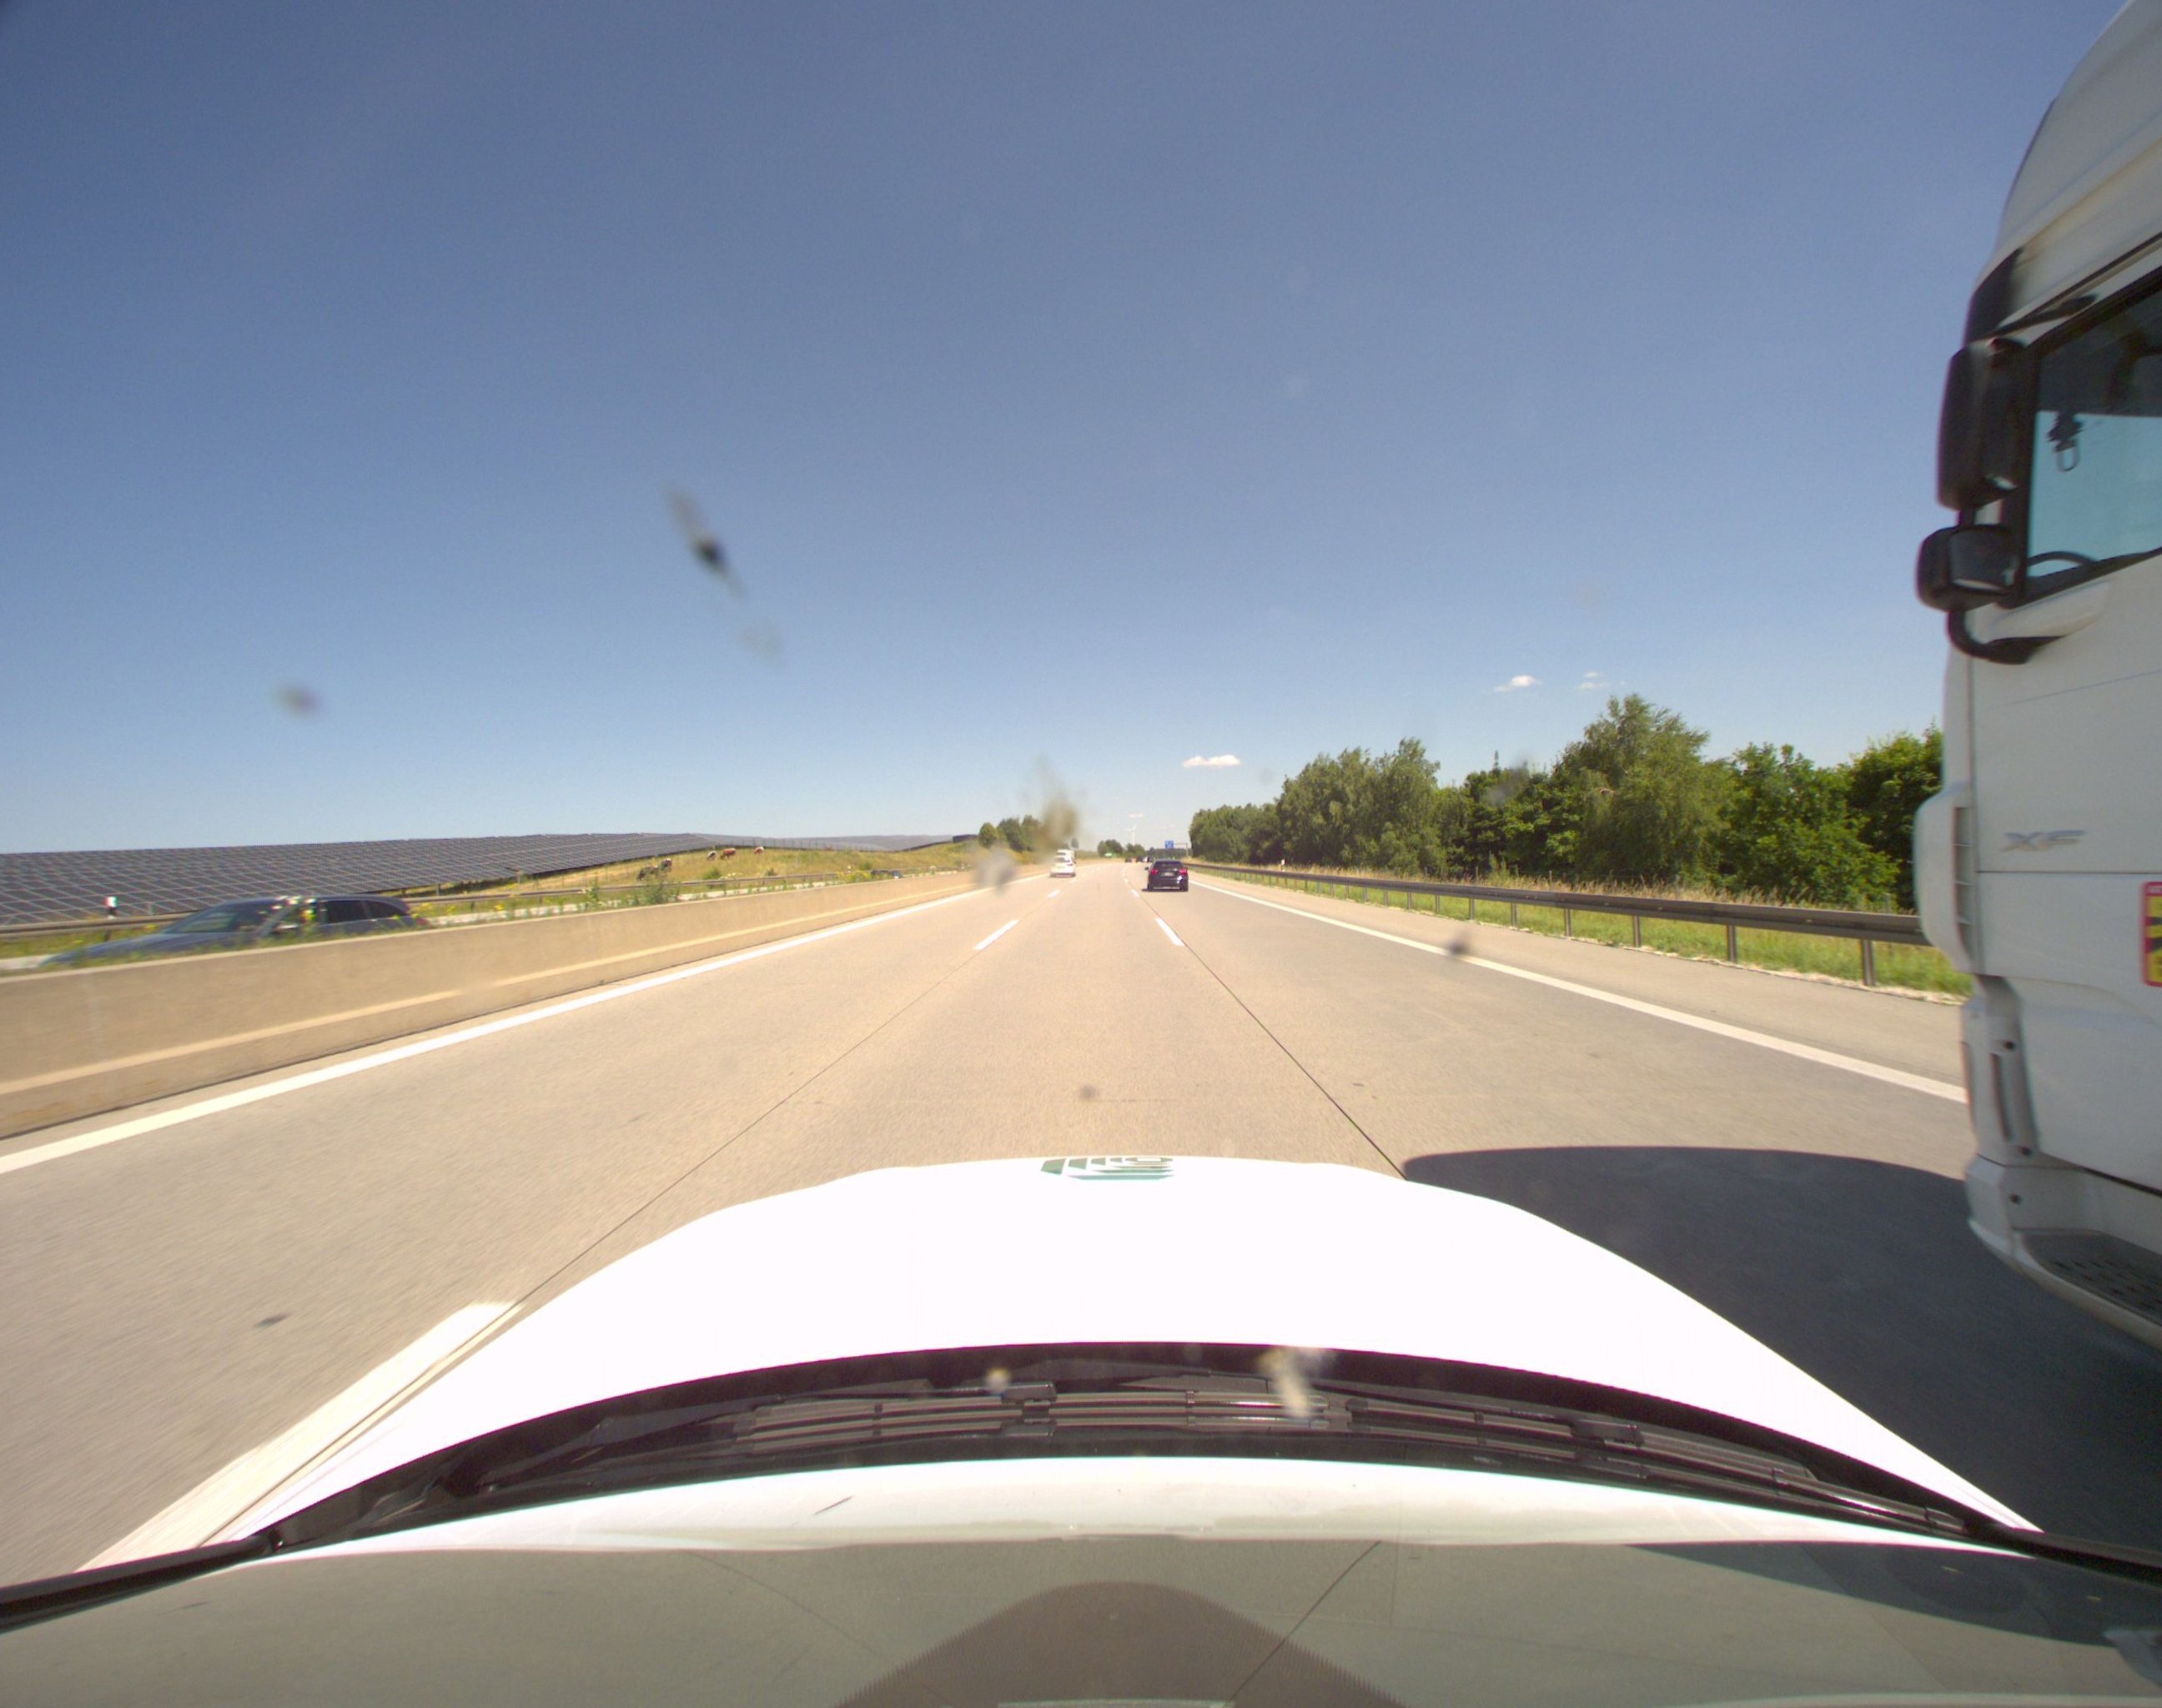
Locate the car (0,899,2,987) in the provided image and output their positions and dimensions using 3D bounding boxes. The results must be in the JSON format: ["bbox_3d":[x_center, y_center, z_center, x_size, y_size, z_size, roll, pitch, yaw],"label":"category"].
[{"bbox_3d":[-19.194,1.503,11.840,1.620,1.482,4.001,-1,-1,2],"label":"car"}]

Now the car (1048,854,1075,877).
[{"bbox_3d":[-1.491,0.863,64.654,1.838,1.708,6.038,-1,-1,2],"label":"car"}]

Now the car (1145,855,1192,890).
[{"bbox_3d":[3.913,0.783,37.131,1.902,1.492,4.195,0,0,3],"label":"car"}]

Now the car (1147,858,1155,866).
[{"bbox_3d":[17.697,1.994,206.100,1.818,1.907,4.006,-1,0,6],"label":"car"}]

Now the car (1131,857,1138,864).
[{"bbox_3d":[14.728,1.692,224.196,1.819,1.937,3.813,-1,0,4],"label":"car"}]

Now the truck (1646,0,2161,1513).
[{"bbox_3d":[3.718,-0.612,0.485,2.802,4.088,5.800,-1,0,2],"label":"truck"}]

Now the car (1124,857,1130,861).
[{"bbox_3d":[13.622,1.485,243.343,1.649,1.196,3.961,1,0,2],"label":"car"}]

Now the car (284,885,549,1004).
[{"bbox_3d":[-12.438,1.606,15.621,1.842,1.840,3.826,-1,0,2],"label":"car"}]

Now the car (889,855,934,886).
[{"bbox_3d":[-10.152,0.973,49.090,1.763,1.746,3.825,-1,0,2],"label":"car"}]
